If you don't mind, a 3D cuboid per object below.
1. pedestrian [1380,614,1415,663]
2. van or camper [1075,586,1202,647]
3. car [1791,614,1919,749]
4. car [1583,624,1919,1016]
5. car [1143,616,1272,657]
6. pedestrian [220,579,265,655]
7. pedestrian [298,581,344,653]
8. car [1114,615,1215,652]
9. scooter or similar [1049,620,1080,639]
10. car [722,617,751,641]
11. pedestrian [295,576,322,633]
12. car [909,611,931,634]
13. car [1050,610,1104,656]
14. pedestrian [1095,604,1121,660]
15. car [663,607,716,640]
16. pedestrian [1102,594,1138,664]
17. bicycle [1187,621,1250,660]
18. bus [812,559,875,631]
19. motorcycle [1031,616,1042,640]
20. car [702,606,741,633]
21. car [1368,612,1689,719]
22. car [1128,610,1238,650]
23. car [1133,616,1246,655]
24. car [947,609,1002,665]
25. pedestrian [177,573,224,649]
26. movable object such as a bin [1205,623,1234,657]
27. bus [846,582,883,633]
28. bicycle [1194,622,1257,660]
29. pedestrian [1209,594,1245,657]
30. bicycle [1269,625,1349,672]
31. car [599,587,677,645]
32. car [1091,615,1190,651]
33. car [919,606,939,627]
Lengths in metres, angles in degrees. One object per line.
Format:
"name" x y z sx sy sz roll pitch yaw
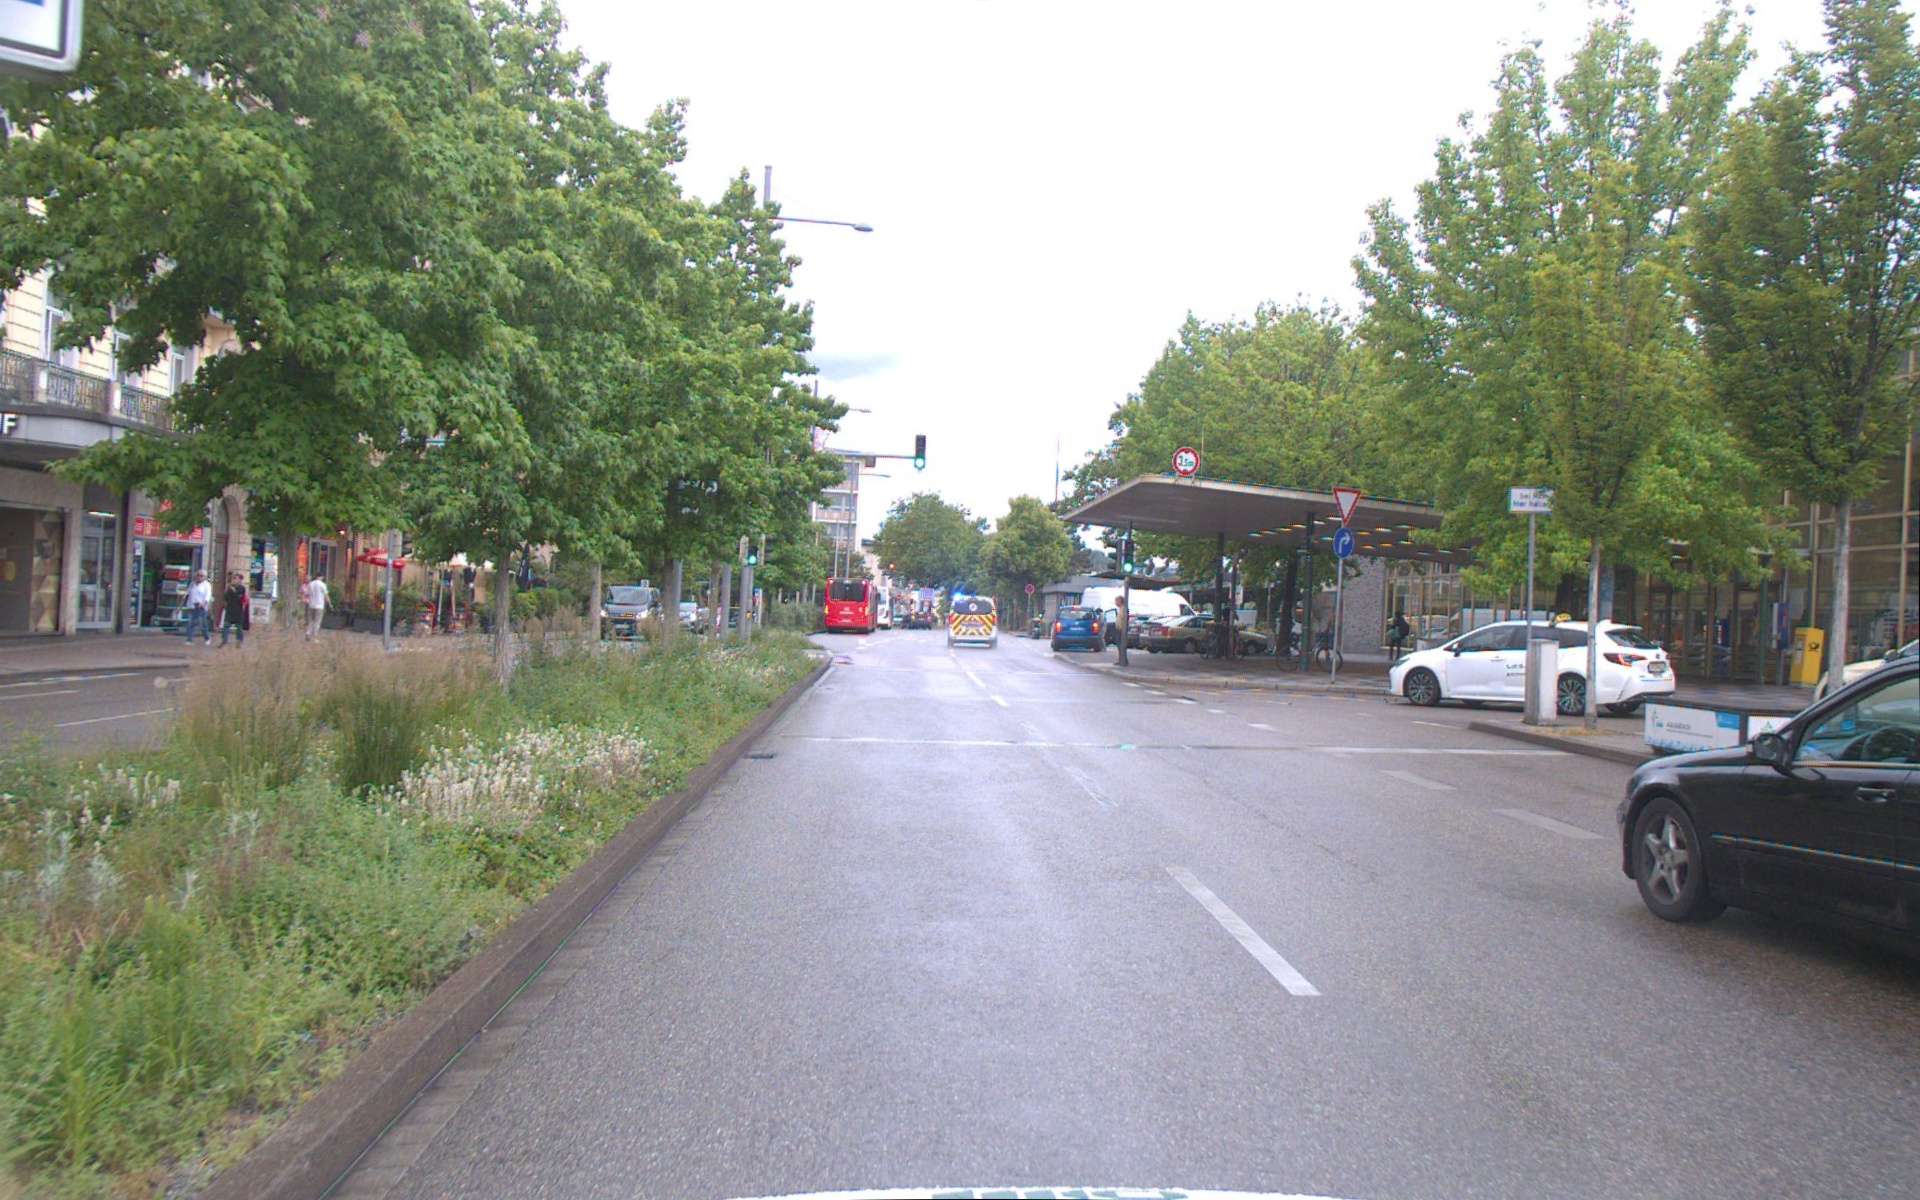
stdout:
"pedestrian" 14.430 1.272 54.531 0.849 1.586 0.812 0 -1 -9
"van or camper" 8.466 0.771 78.283 5.881 2.811 2.177 0 -1 -29
"car" 12.724 1.002 20.321 1.957 1.627 4.947 0 0 -10
"car" 4.461 0.852 6.749 1.663 1.491 4.443 0 -1 -8
"car" 8.633 1.278 57.811 4.126 1.348 1.828 2 -1 -22
"pedestrian" -16.164 0.382 37.273 0.668 1.693 0.807 0 -1 -2
"pedestrian" -16.840 0.440 43.600 0.862 1.844 0.750 -3 -1 -2
"car" 8.674 1.414 70.028 3.942 1.468 1.847 2 -1 -29
"scooter or similar" 6.173 1.748 97.794 2.132 1.129 0.421 1 -1 -42
"car" -14.789 1.907 109.530 1.565 1.558 3.652 0 -1 -2
"pedestrian" -19.455 0.146 49.410 0.654 1.693 0.535 0 -1 -10
"car" -3.561 1.983 148.259 1.953 2.049 3.998 0 -1 -2
"car" 4.260 1.221 60.770 1.820 1.596 4.001 1 -1 2
"pedestrian" 5.447 1.160 60.991 0.815 2.049 0.888 0 -1 -6
"car" -13.097 1.144 80.351 1.953 1.570 4.631 0 -1 -2
"pedestrian" 4.115 0.757 42.644 0.732 1.777 0.834 1 -1 -10
"bicycle" 7.417 1.156 47.467 1.800 1.074 0.418 0 -1 -20
"bus" -6.899 -0.208 99.291 3.474 4.049 11.164 0 -1 -3
"motorcycle" 4.410 1.607 95.014 0.582 1.311 1.954 0 0 4
"car" -13.258 1.078 92.039 1.712 1.455 3.951 0 -1 -2
"car" 9.101 0.995 26.793 1.748 1.573 4.705 2 -1 -41
"car" 8.728 1.189 64.680 3.942 1.468 1.847 2 -1 -29
"car" 8.539 1.317 61.475 3.949 1.383 1.844 2 -1 -33
"car" 0.534 1.388 63.778 1.953 2.049 5.060 0 -1 -1
"pedestrian" -17.038 0.254 37.097 0.667 1.693 0.807 0 -1 1
"movable object such as a bin" 8.280 1.271 52.787 0.737 1.086 0.747 0 -1 -11
"bus" -7.418 0.603 128.765 2.749 3.812 10.437 0 -1 -3
"bicycle" 7.555 1.159 46.982 1.800 1.074 0.418 0 -1 -20
"pedestrian" 8.059 0.764 49.930 0.839 1.867 1.189 1 -1 -2
"bicycle" 8.133 1.125 38.573 1.790 1.074 0.420 0 -1 -2
"car" -11.987 0.598 61.804 1.953 2.049 5.000 0 -1 0
"car" 7.885 1.440 72.198 3.942 1.468 1.847 2 -1 -29
"car" -3.052 1.672 163.672 1.953 2.049 3.998 0 -1 -2
